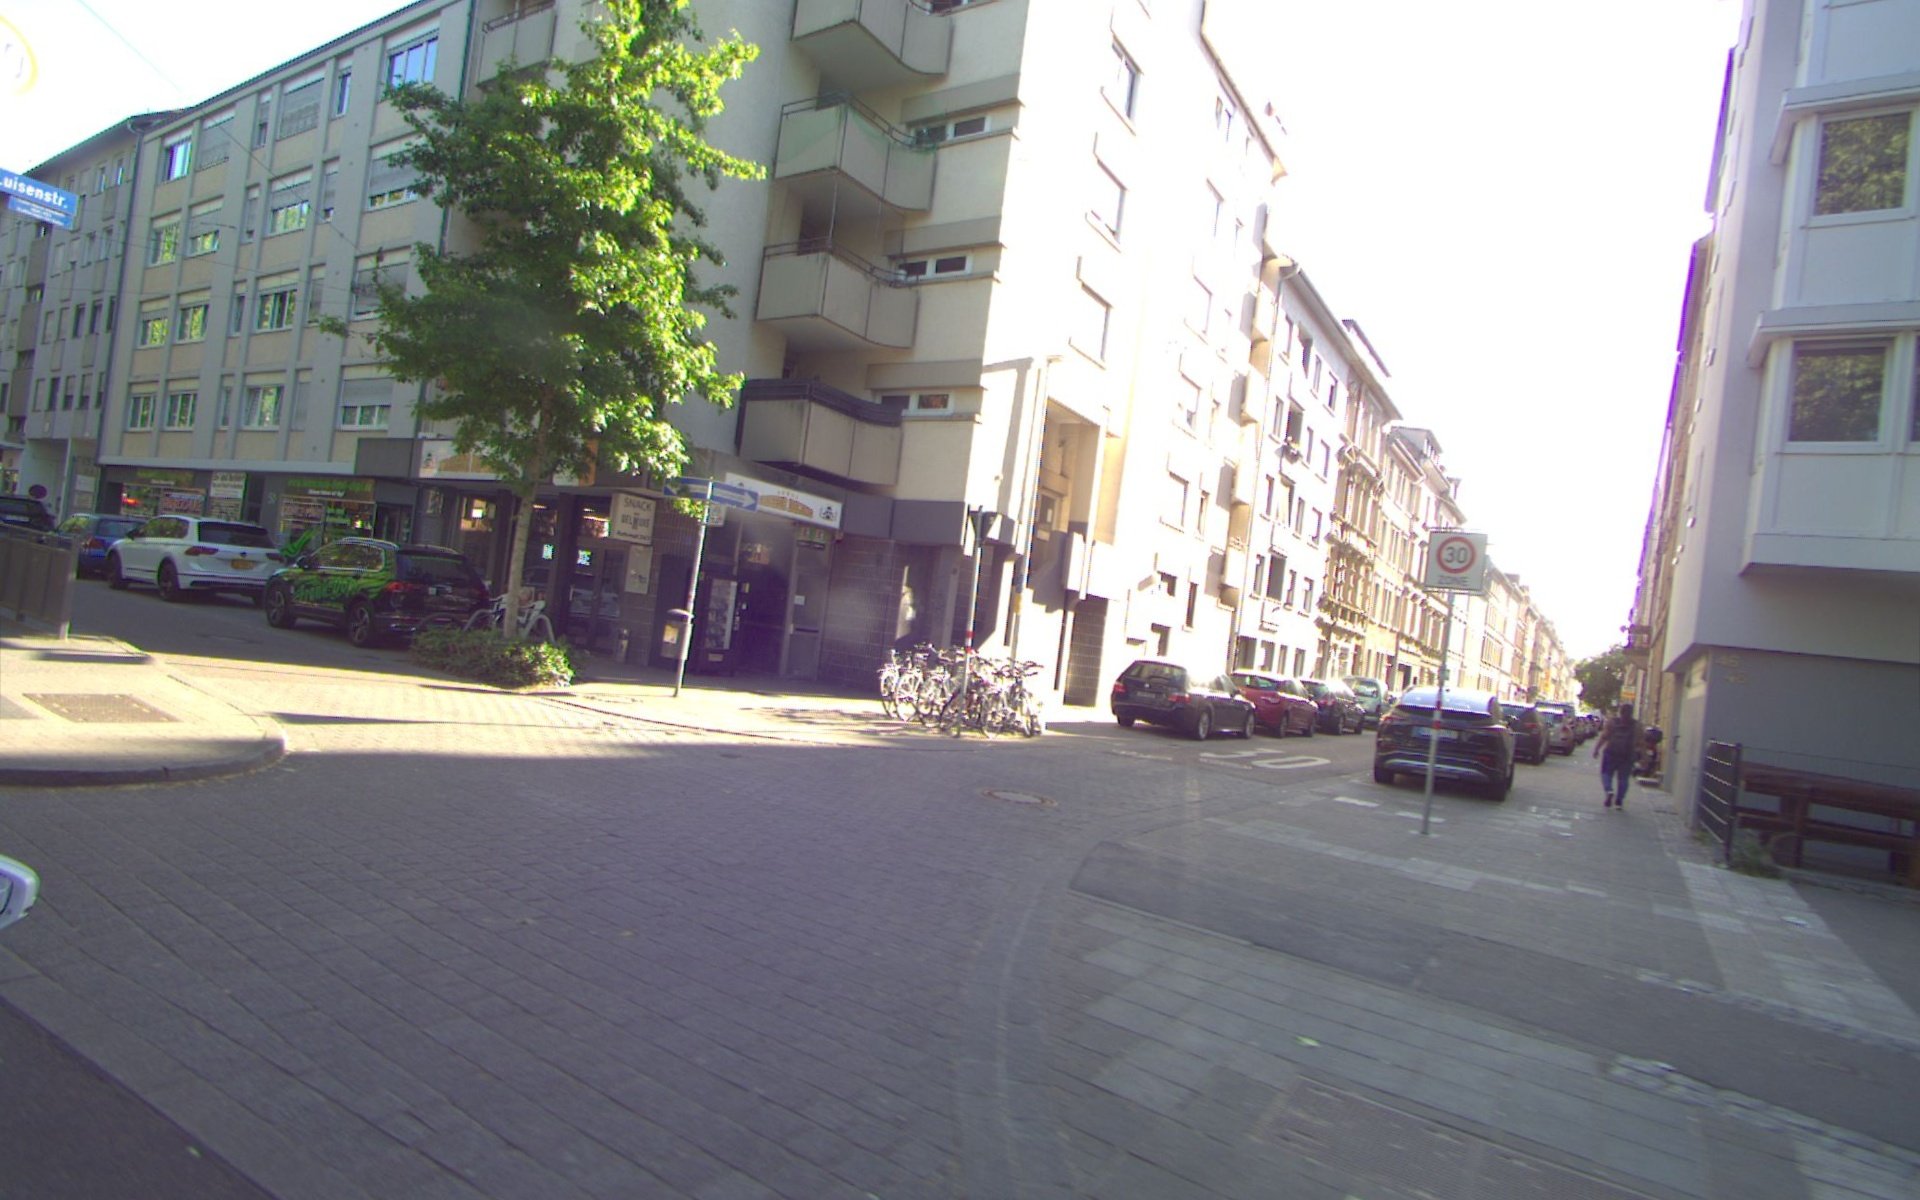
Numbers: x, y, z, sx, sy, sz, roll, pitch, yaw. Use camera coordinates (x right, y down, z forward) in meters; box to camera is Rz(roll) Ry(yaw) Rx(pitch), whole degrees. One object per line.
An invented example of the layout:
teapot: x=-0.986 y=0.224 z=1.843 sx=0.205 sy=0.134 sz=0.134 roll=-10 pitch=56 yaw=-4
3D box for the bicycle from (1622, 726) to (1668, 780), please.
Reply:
bicycle: x=16.620 y=3.697 z=24.453 sx=0.757 sy=1.132 sz=2.386 roll=6 pitch=-3 yaw=33

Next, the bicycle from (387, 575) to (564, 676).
bicycle: x=-7.037 y=0.396 z=14.720 sx=0.672 sy=1.201 sz=2.125 roll=6 pitch=-3 yaw=42

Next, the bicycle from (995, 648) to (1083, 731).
bicycle: x=1.327 y=1.490 z=16.467 sx=0.502 sy=1.221 sz=1.919 roll=8 pitch=-1 yaw=30

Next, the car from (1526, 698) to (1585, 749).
car: x=27.202 y=5.645 z=45.874 sx=1.713 sy=1.968 sz=4.216 roll=6 pitch=-3 yaw=37

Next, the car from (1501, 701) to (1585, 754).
car: x=20.447 y=4.477 z=35.184 sx=1.970 sy=1.466 sz=3.990 roll=6 pitch=-3 yaw=37

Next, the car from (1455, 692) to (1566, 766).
car: x=14.725 y=3.413 z=26.792 sx=1.935 sy=1.573 sz=3.989 roll=6 pitch=-2 yaw=37

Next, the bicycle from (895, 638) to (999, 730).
bicycle: x=-0.153 y=1.256 z=14.867 sx=0.502 sy=1.222 sz=1.918 roll=7 pitch=-1 yaw=30

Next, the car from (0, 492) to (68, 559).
car: x=-28.093 y=-2.284 z=29.426 sx=4.328 sy=1.633 sz=1.860 roll=6 pitch=-3 yaw=34

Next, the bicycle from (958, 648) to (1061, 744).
bicycle: x=0.744 y=1.366 z=14.327 sx=0.502 sy=1.222 sz=1.918 roll=8 pitch=0 yaw=30

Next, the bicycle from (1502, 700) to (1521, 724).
bicycle: x=32.868 y=6.693 z=59.939 sx=0.698 sy=1.246 sz=2.319 roll=6 pitch=-3 yaw=33

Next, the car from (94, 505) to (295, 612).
car: x=-15.517 y=-0.865 z=20.333 sx=4.345 sy=1.624 sz=1.802 roll=6 pitch=-3 yaw=34

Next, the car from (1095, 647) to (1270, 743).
car: x=4.773 y=1.979 z=21.019 sx=1.841 sy=1.496 sz=4.588 roll=9 pitch=0 yaw=34

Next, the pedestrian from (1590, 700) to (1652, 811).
pedestrian: x=10.155 y=2.378 z=15.447 sx=0.635 sy=1.579 sz=0.551 roll=5 pitch=-3 yaw=38

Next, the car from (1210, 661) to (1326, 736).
car: x=7.813 y=2.531 z=25.295 sx=1.679 sy=1.526 sz=3.996 roll=6 pitch=-3 yaw=32

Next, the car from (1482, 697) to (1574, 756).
car: x=17.434 y=3.898 z=30.816 sx=1.837 sy=1.434 sz=3.990 roll=6 pitch=-3 yaw=37

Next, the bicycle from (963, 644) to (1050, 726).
bicycle: x=0.808 y=1.441 z=16.770 sx=0.502 sy=1.221 sz=1.919 roll=6 pitch=-3 yaw=30

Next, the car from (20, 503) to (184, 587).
car: x=-20.004 y=-1.296 z=23.414 sx=4.179 sy=1.456 sz=1.747 roll=6 pitch=-3 yaw=34

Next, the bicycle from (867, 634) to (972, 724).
bicycle: x=-0.578 y=1.201 z=15.212 sx=0.502 sy=1.222 sz=1.918 roll=7 pitch=-1 yaw=30

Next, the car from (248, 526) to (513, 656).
car: x=-9.606 y=-0.168 z=16.583 sx=4.374 sy=1.635 sz=1.995 roll=6 pitch=-1 yaw=34

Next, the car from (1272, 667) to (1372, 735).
car: x=10.711 y=3.016 z=29.587 sx=1.806 sy=1.640 sz=4.069 roll=6 pitch=-3 yaw=32

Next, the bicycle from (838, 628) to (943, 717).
bicycle: x=-1.035 y=1.151 z=15.500 sx=0.502 sy=1.221 sz=1.919 roll=6 pitch=-3 yaw=30

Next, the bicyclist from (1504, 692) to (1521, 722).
bicyclist: x=32.933 y=6.357 z=59.996 sx=0.670 sy=1.683 sz=0.795 roll=6 pitch=-2 yaw=33

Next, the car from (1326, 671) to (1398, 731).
car: x=14.456 y=3.648 z=36.051 sx=1.694 sy=1.836 sz=3.561 roll=6 pitch=-3 yaw=31

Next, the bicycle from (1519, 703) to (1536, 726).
bicycle: x=33.586 y=6.768 z=59.505 sx=0.670 sy=1.246 sz=2.291 roll=6 pitch=-3 yaw=33

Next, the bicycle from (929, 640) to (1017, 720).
bicycle: x=0.251 y=1.388 z=17.107 sx=0.502 sy=1.221 sz=1.919 roll=6 pitch=-3 yaw=30

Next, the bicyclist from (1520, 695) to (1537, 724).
bicyclist: x=33.598 y=6.477 z=59.467 sx=0.670 sy=1.551 sz=0.795 roll=6 pitch=-2 yaw=33

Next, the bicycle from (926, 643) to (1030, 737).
bicycle: x=0.292 y=1.305 z=14.591 sx=0.502 sy=1.222 sz=1.918 roll=8 pitch=0 yaw=30

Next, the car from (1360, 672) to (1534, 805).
car: x=7.902 y=2.166 z=16.090 sx=1.935 sy=1.609 sz=4.257 roll=5 pitch=-4 yaw=33
